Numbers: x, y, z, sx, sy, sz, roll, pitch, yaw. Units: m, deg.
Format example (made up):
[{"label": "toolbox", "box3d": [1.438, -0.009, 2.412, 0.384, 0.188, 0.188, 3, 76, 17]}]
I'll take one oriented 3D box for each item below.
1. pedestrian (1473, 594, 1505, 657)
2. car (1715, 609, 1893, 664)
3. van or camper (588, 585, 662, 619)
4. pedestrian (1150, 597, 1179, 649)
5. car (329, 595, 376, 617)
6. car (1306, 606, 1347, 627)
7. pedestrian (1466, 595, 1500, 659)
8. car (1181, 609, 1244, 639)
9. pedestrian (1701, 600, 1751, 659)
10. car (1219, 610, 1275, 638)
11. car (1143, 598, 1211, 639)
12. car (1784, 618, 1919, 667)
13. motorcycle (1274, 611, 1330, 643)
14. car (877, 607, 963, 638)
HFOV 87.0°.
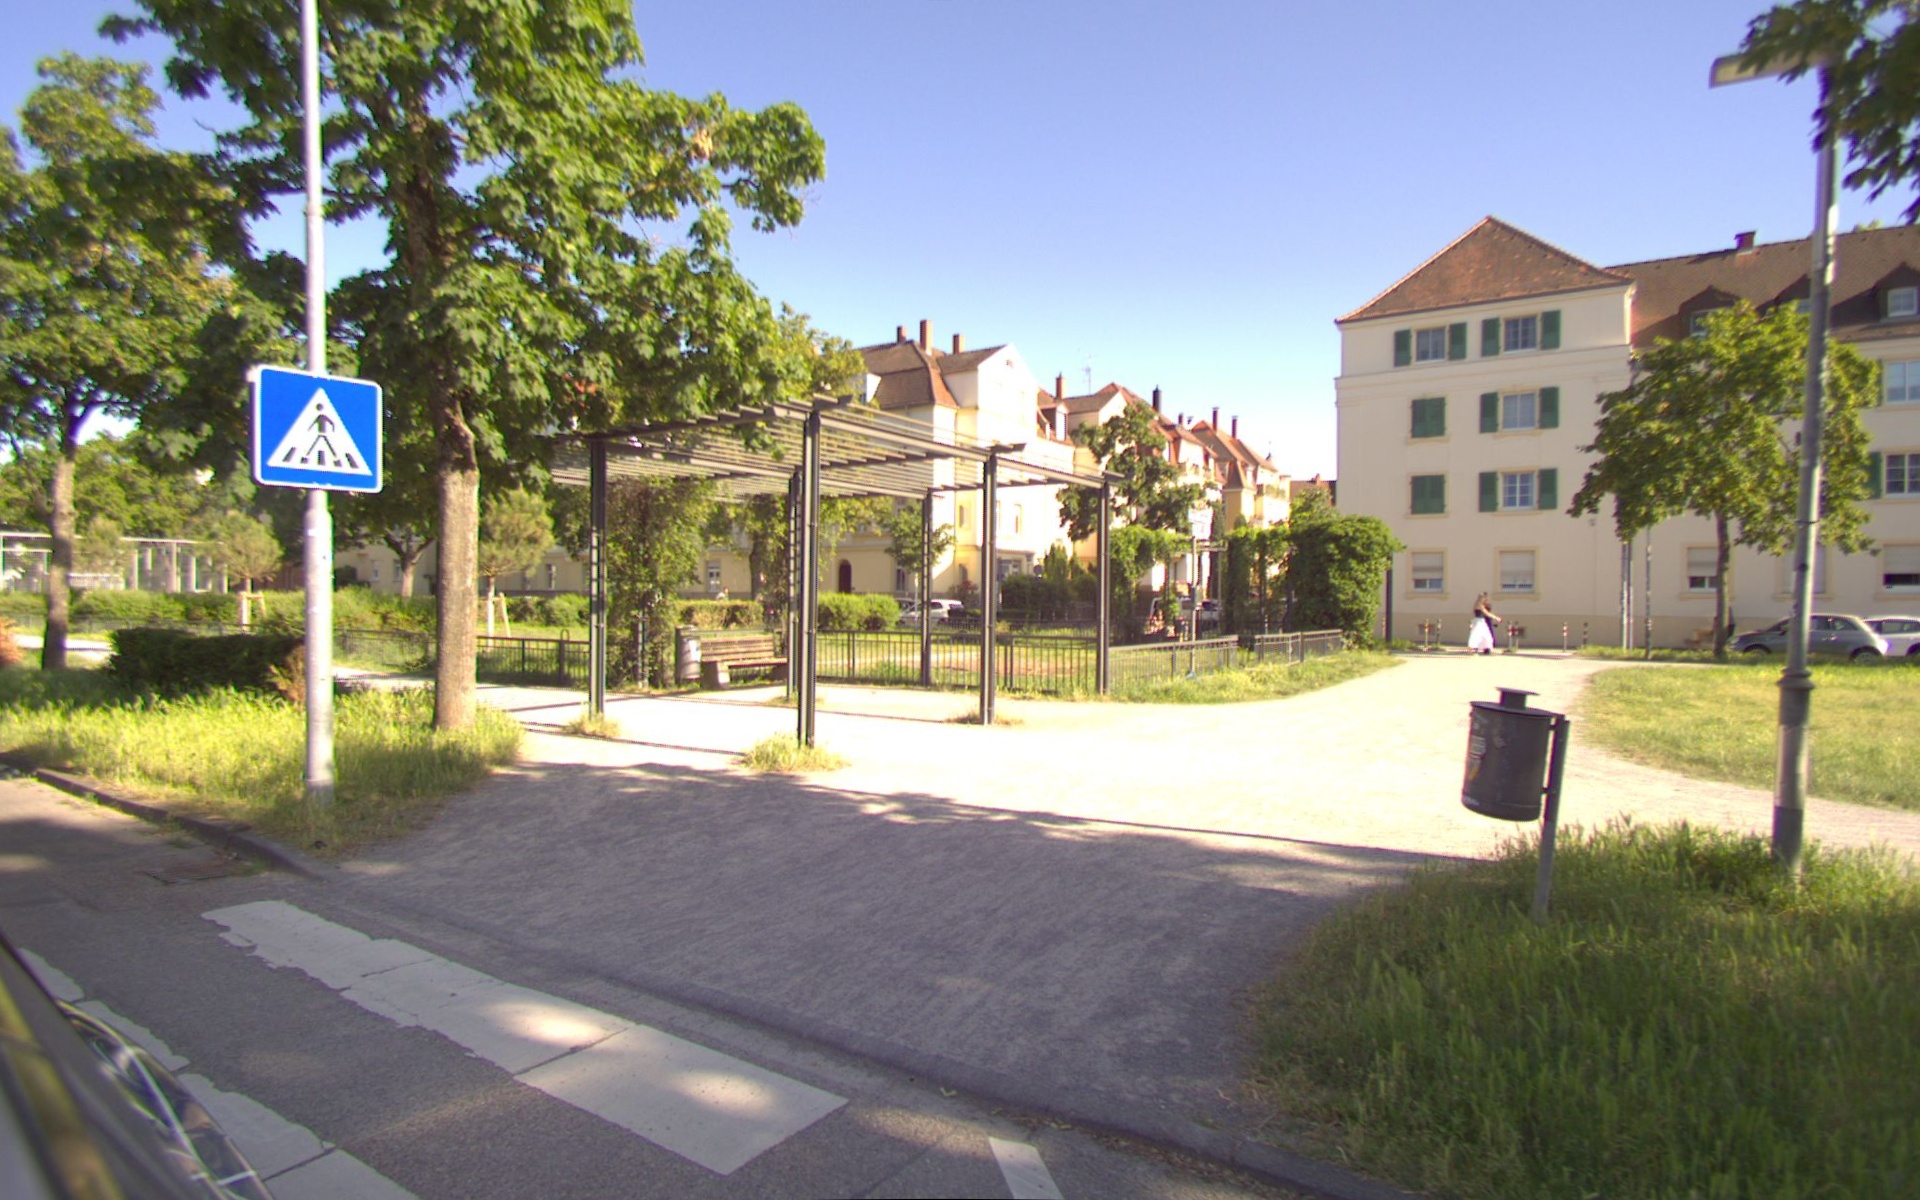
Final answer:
[{"label": "pedestrian", "box3d": [14.484, 0.690, 27.720, 0.673, 1.697, 0.538, 0, 0, 39]}, {"label": "car", "box3d": [22.737, 0.947, 27.426, 3.504, 1.343, 1.637, 0, 0, 33]}, {"label": "van or camper", "box3d": [-21.163, 0.088, 63.843, 4.363, 2.029, 2.249, 1, 0, 34]}, {"label": "pedestrian", "box3d": [5.910, 0.656, 29.200, 0.671, 1.450, 0.539, 0, 0, 32]}, {"label": "car", "box3d": [-50.096, 0.483, 83.419, 3.991, 1.807, 1.933, 0, 0, 35]}, {"label": "car", "box3d": [27.925, 1.219, 77.051, 2.039, 1.530, 3.770, 0, 0, 35]}, {"label": "pedestrian", "box3d": [14.051, 0.716, 27.198, 0.748, 1.697, 0.538, 0, 0, 36]}, {"label": "car", "box3d": [13.651, 1.265, 54.587, 2.039, 1.530, 3.770, 0, 0, 35]}, {"label": "pedestrian", "box3d": [26.315, 0.989, 34.807, 1.158, 1.978, 1.331, 0, 0, 28]}, {"label": "car", "box3d": [16.777, 1.367, 59.053, 2.039, 1.530, 3.770, 0, 0, 35]}, {"label": "car", "box3d": [10.921, 0.880, 50.784, 2.039, 1.970, 3.770, 0, 0, 35]}, {"label": "car", "box3d": [27.808, 1.265, 30.852, 3.989, 1.366, 1.754, 0, 0, 33]}, {"label": "motorcycle", "box3d": [14.632, 1.130, 43.320, 2.138, 1.315, 0.809, 0, 0, 33]}, {"label": "car", "box3d": [-1.862, 1.007, 46.867, 3.701, 1.341, 1.734, 0, 0, 32]}]
